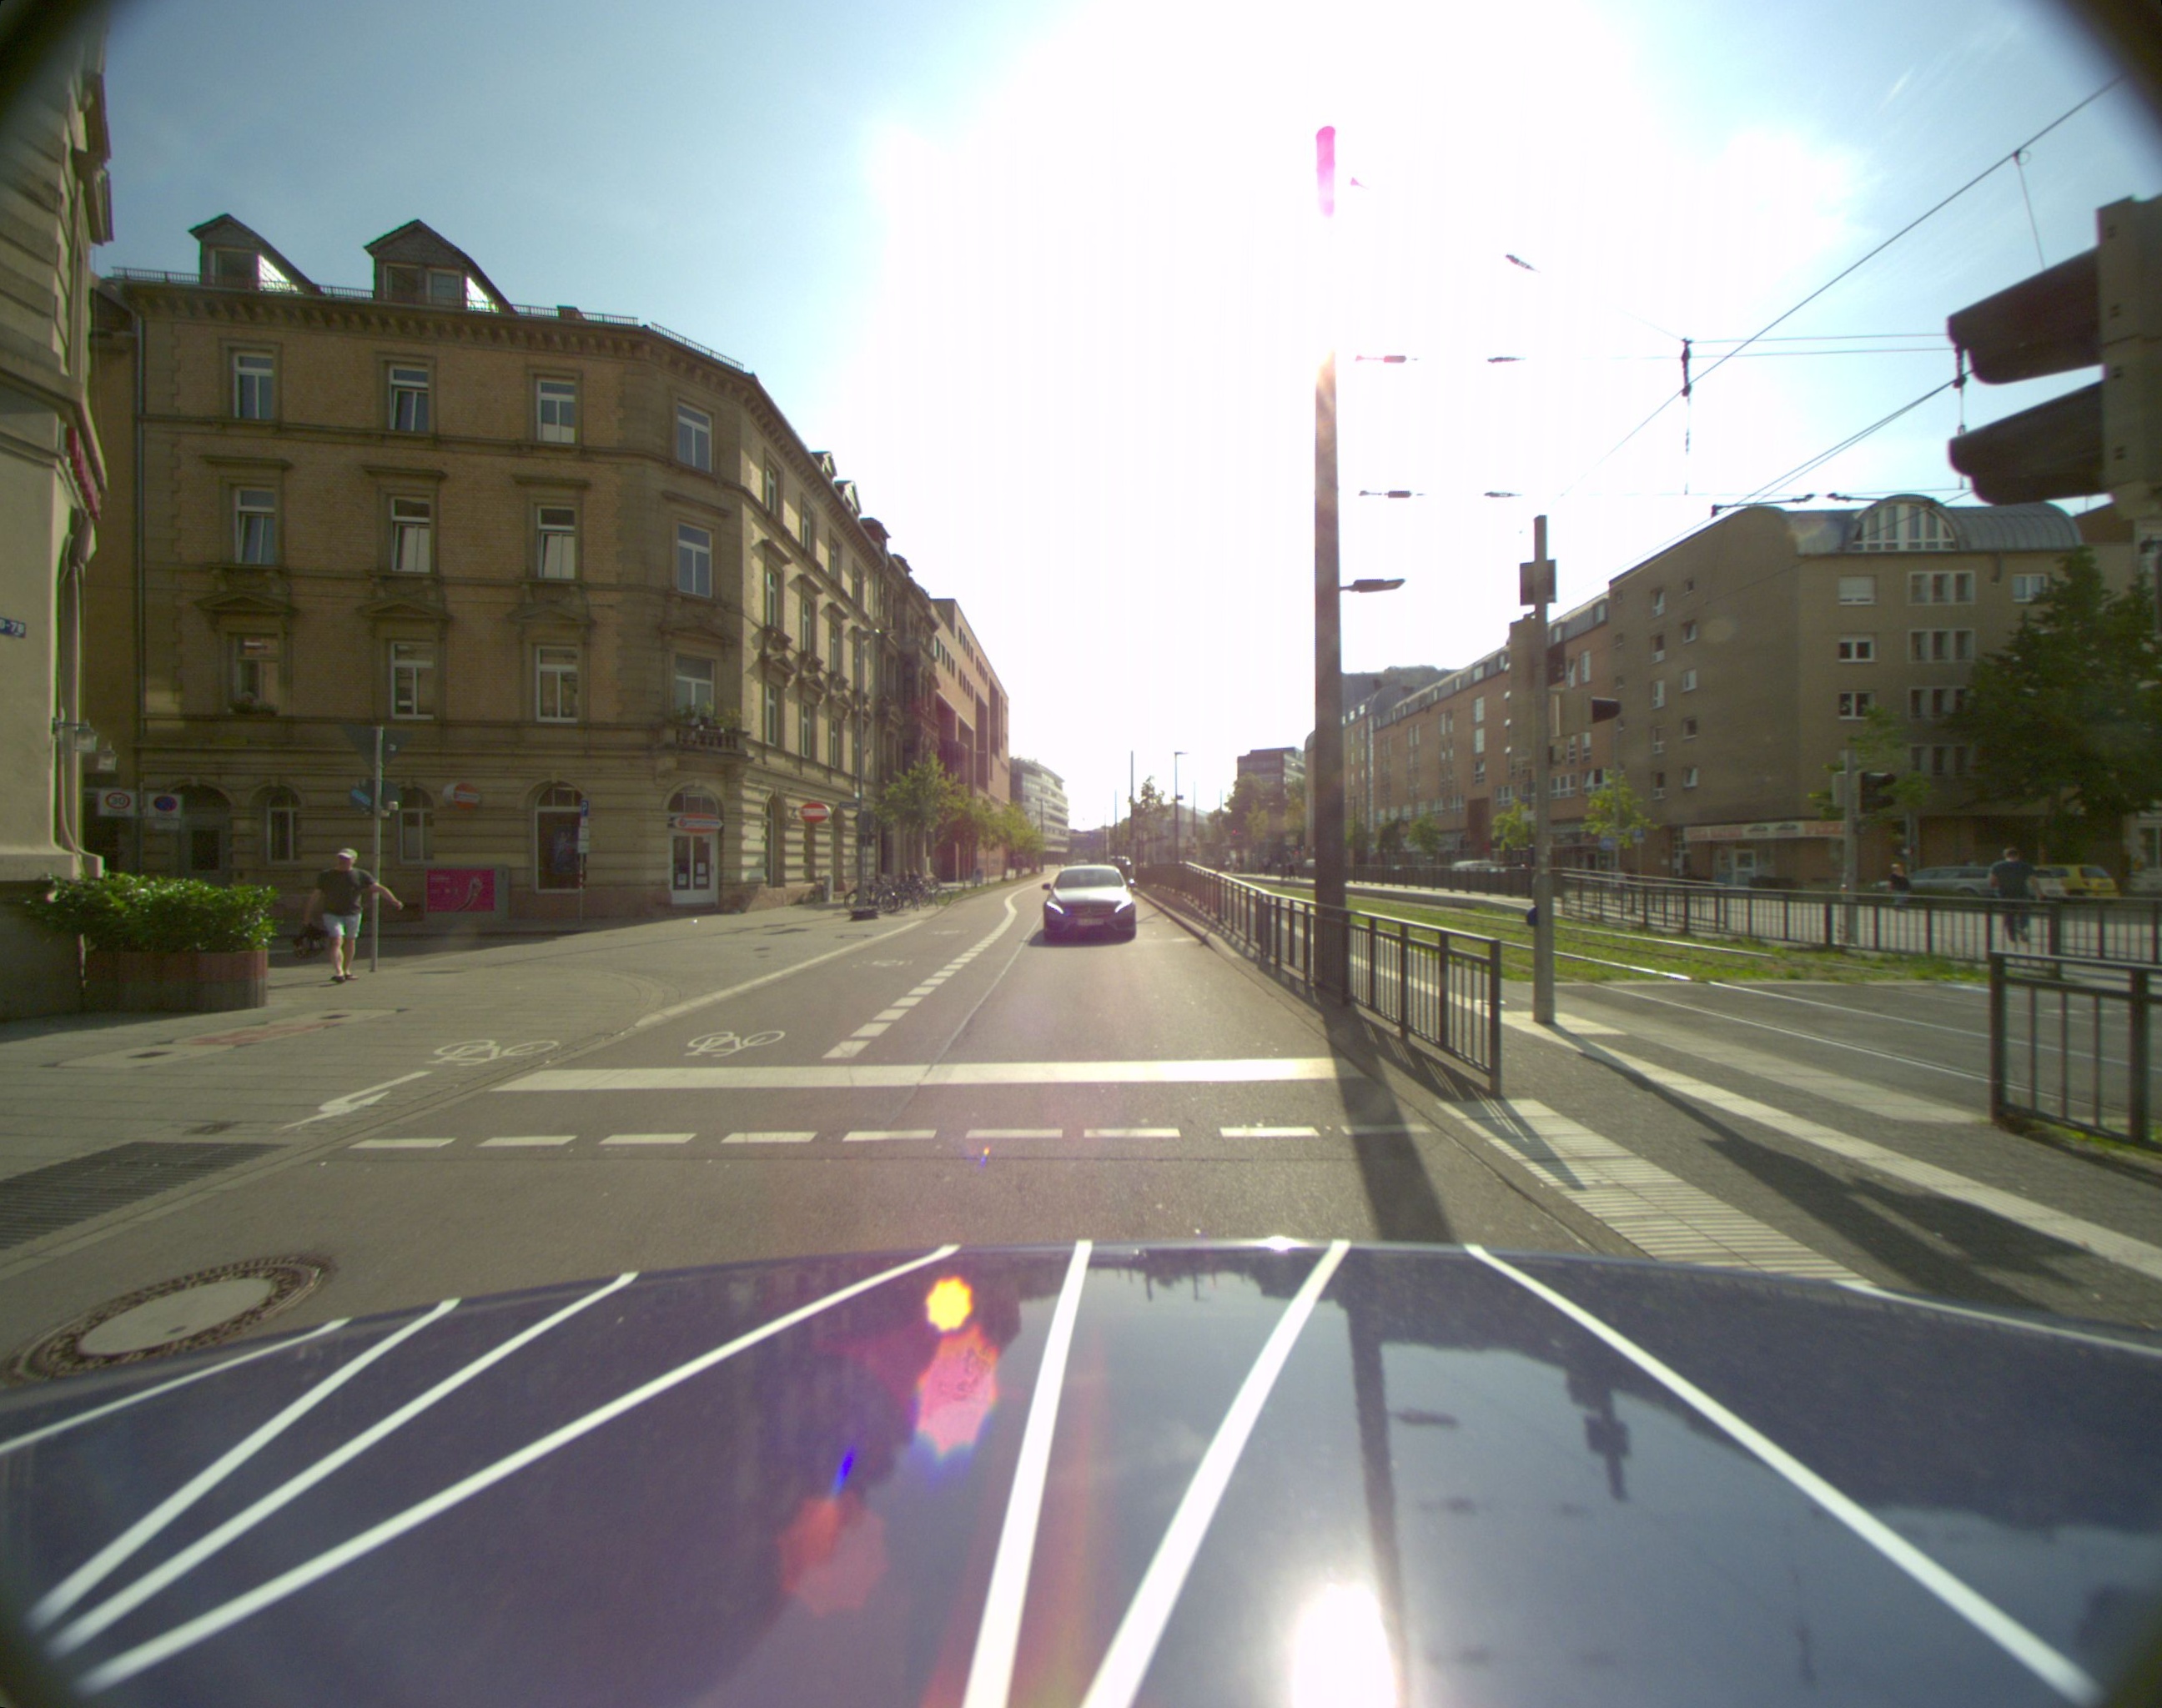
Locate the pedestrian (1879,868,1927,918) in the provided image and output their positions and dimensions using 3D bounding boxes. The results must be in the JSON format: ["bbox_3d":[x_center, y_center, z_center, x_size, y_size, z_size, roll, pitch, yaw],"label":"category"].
[{"bbox_3d":[26.518,1.234,24.512,0.680,1.574,0.808,0,0,-2],"label":"pedestrian"}]

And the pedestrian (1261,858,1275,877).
[{"bbox_3d":[14.834,1.064,60.226,0.679,1.521,0.810,0,0,-30],"label":"pedestrian"}]

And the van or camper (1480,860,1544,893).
[{"bbox_3d":[26.523,1.347,46.891,1.934,1.956,4.002,0,0,5],"label":"van or camper"}]

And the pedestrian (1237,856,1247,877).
[{"bbox_3d":[14.563,1.117,68.660,0.807,1.875,0.555,0,0,3],"label":"pedestrian"}]

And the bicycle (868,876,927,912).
[{"bbox_3d":[-6.103,1.336,25.323,1.758,1.081,0.669,3,0,6],"label":"bicycle"}]

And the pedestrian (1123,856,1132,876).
[{"bbox_3d":[4.025,1.031,66.044,0.675,1.747,0.727,-3,1,0],"label":"pedestrian"}]

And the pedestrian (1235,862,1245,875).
[{"bbox_3d":[15.108,1.397,72.247,0.793,1.238,0.675,1,0,0],"label":"pedestrian"}]

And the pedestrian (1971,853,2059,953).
[{"bbox_3d":[18.103,0.916,14.735,1.073,1.856,0.862,-1,0,-26],"label":"pedestrian"}]

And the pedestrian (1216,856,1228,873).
[{"bbox_3d":[14.622,1.117,78.963,0.787,1.736,0.833,1,1,-36],"label":"pedestrian"}]

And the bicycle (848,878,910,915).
[{"bbox_3d":[-6.392,1.331,24.062,1.756,1.081,0.583,2,0,4],"label":"bicycle"}]

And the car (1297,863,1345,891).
[{"bbox_3d":[17.698,1.651,56.272,1.998,2.002,4.932,0,0,0],"label":"car"}]

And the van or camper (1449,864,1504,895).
[{"bbox_3d":[27.108,1.704,52.204,1.997,2.002,4.002,0,0,6],"label":"van or camper"}]

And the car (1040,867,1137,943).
[{"bbox_3d":[0.178,1.052,17.224,1.907,1.384,4.236,-1,0,1],"label":"car"}]

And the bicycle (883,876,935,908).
[{"bbox_3d":[-6.313,1.383,27.995,1.761,1.081,0.657,3,0,-8],"label":"bicycle"}]

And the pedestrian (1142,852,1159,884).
[{"bbox_3d":[4.365,0.867,47.689,0.835,2.002,1.028,-3,1,-2],"label":"pedestrian"}]

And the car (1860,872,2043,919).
[{"bbox_3d":[33.520,1.544,29.500,1.768,1.590,4.554,0,0,-3],"label":"car"}]

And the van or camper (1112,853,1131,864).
[{"bbox_3d":[7.997,0.865,150.341,1.938,2.198,3.976,0,0,-32],"label":"van or camper"}]

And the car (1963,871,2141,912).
[{"bbox_3d":[38.705,1.444,30.459,1.999,1.499,4.000,0,0,-1],"label":"car"}]

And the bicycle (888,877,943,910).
[{"bbox_3d":[-5.844,1.385,26.869,1.763,1.081,0.671,3,0,-22],"label":"bicycle"}]

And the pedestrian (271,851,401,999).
[{"bbox_3d":[-9.692,0.887,9.904,0.862,1.795,0.995,0,-2,33],"label":"pedestrian"}]

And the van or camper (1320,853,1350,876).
[{"bbox_3d":[32.125,1.306,96.216,1.998,2.785,5.353,0,0,1],"label":"van or camper"}]

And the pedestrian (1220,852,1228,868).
[{"bbox_3d":[15.898,0.654,84.528,0.652,1.750,0.698,-3,1,2],"label":"pedestrian"}]

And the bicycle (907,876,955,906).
[{"bbox_3d":[-5.821,1.434,29.510,1.761,1.081,0.610,3,0,-8],"label":"bicycle"}]

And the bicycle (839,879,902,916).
[{"bbox_3d":[-6.483,1.337,23.462,1.756,1.081,0.583,2,0,4],"label":"bicycle"}]

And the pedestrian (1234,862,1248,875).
[{"bbox_3d":[15.061,1.386,71.512,1.156,1.238,0.675,1,0,0],"label":"pedestrian"}]

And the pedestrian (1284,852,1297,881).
[{"bbox_3d":[13.828,0.815,50.069,0.740,1.861,0.940,0,0,10],"label":"pedestrian"}]
